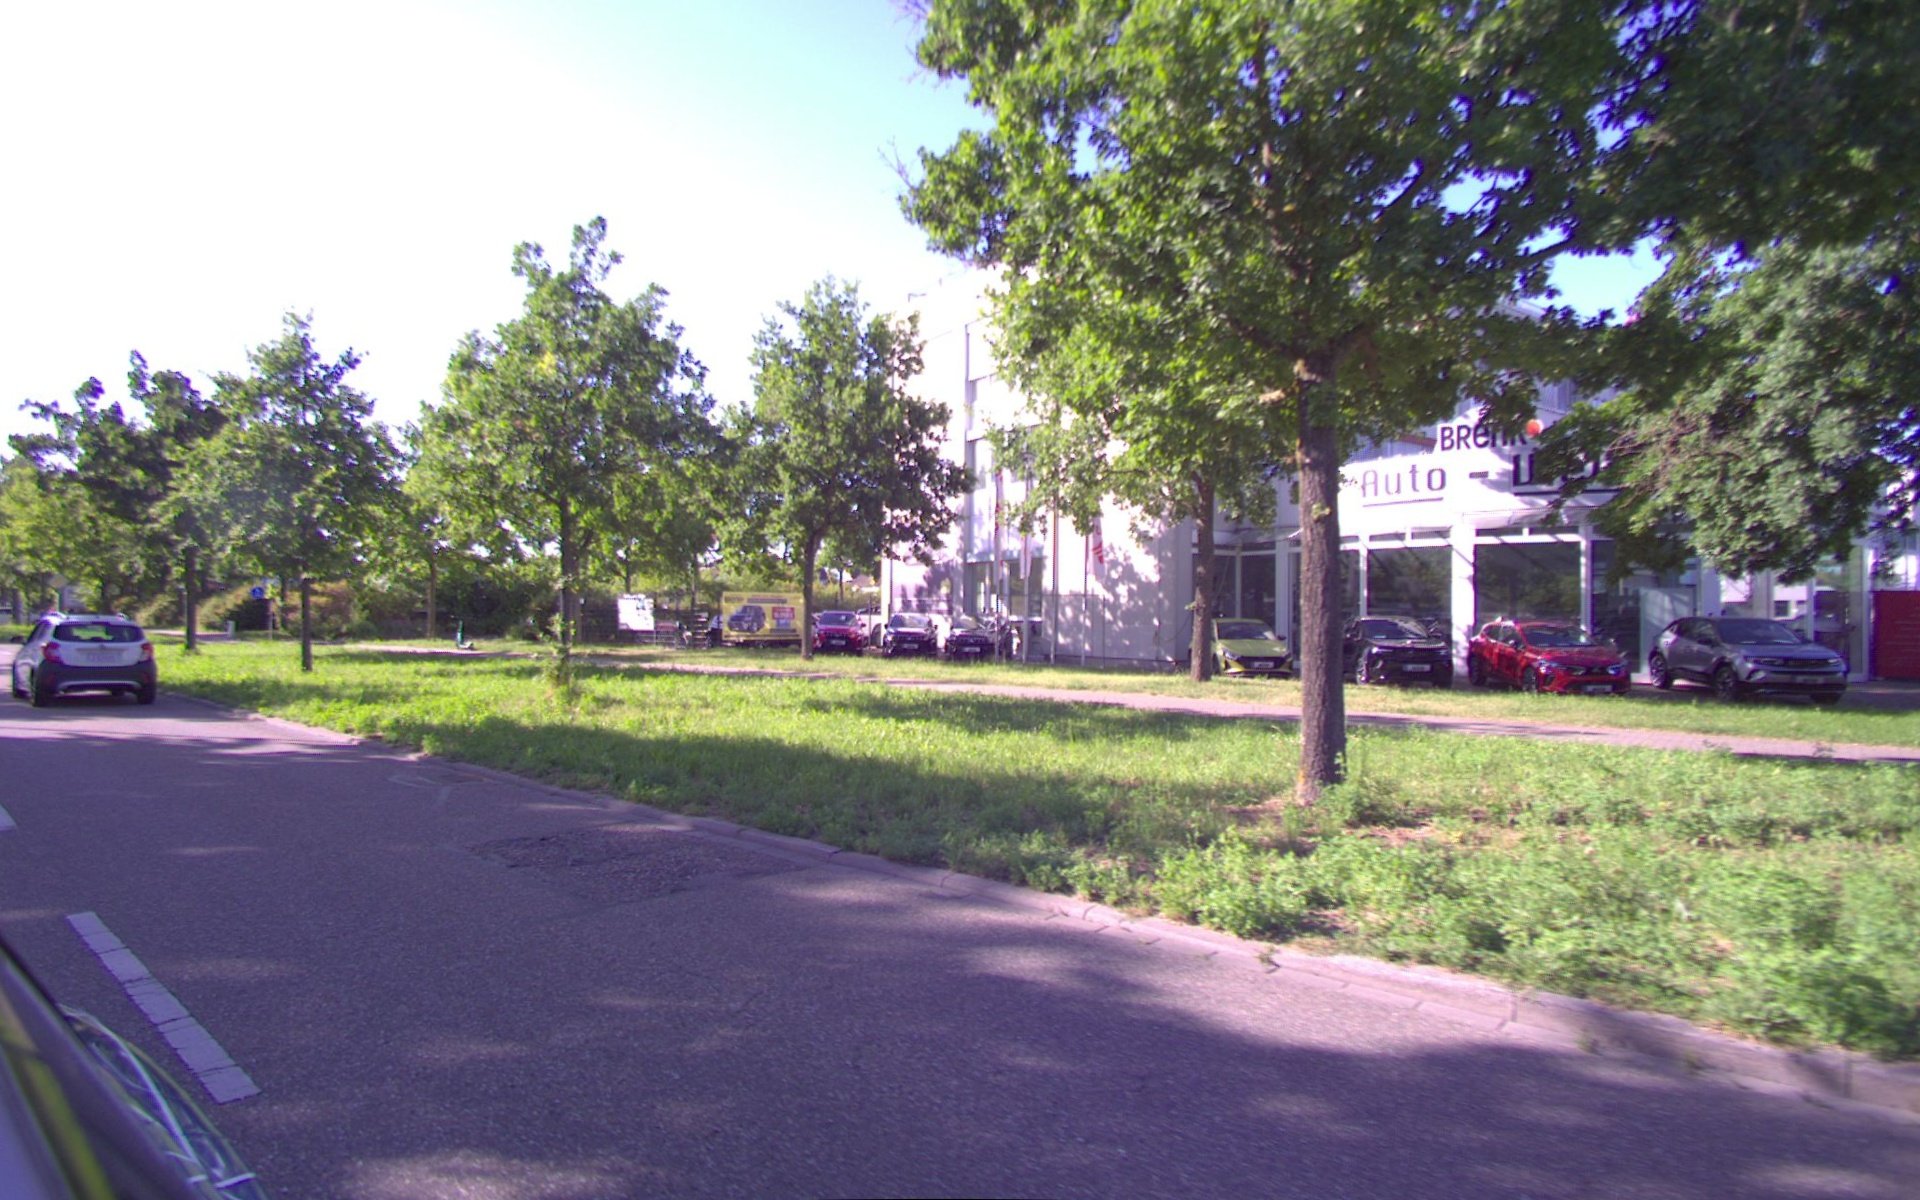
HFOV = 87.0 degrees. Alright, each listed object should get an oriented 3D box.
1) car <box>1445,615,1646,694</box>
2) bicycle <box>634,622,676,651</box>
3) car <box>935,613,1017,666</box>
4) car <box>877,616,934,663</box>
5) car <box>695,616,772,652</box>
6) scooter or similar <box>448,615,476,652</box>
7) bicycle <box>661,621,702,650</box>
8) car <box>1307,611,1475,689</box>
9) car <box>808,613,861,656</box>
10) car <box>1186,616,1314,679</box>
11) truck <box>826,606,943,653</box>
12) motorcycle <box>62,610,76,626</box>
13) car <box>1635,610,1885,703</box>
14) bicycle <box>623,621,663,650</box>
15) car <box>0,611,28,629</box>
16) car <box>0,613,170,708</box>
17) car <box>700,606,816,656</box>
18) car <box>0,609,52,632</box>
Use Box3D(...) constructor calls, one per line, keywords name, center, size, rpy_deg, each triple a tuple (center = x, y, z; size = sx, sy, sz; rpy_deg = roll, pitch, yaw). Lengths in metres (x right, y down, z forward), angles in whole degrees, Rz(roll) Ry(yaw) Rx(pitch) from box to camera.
Box3D(name="car", center=(12.217, 1.085, 21.495), size=(1.973, 1.502, 4.166), rpy_deg=(0, -1, 3))
Box3D(name="bicycle", center=(-11.738, 1.383, 38.910), size=(1.890, 1.096, 0.632), rpy_deg=(-1, -2, 42))
Box3D(name="car", center=(0.564, 1.187, 31.196), size=(1.783, 1.523, 3.984), rpy_deg=(-1, -1, 12))
Box3D(name="car", center=(-1.752, 1.278, 33.567), size=(1.775, 1.459, 4.000), rpy_deg=(0, -1, -1))
Box3D(name="car", center=(-9.694, 1.431, 43.090), size=(1.771, 1.459, 4.009), rpy_deg=(1, -1, -36))
Box3D(name="scooter or similar", center=(-17.542, 1.170, 35.649), size=(1.441, 1.289, 0.390), rpy_deg=(-1, -1, 43))
Box3D(name="bicycle", center=(-10.858, 1.389, 39.443), size=(1.890, 1.096, 0.632), rpy_deg=(-1, -2, 42))
Box3D(name="car", center=(9.257, 1.027, 22.152), size=(1.870, 1.550, 4.169), rpy_deg=(0, -1, 0))
Box3D(name="car", center=(-4.435, 1.202, 36.034), size=(1.773, 1.459, 4.005), rpy_deg=(0, -1, -6))
Box3D(name="car", center=(6.931, 1.104, 24.609), size=(1.972, 1.412, 3.953), rpy_deg=(0, -1, 0))
Box3D(name="truck", center=(-3.176, 1.221, 43.185), size=(4.614, 1.797, 2.030), rpy_deg=(-1, 0, -37))
Box3D(name="motorcycle", center=(-81.440, 1.647, 92.511), size=(1.992, 1.443, 0.729), rpy_deg=(-1, 2, 45))
Box3D(name="car", center=(15.070, 1.002, 19.420), size=(1.978, 1.574, 4.157), rpy_deg=(0, -1, 10))
Box3D(name="bicycle", center=(-12.578, 1.392, 40.084), size=(1.890, 1.096, 0.632), rpy_deg=(-1, -2, 42))
Box3D(name="car", center=(-85.090, 1.760, 89.165), size=(4.361, 1.568, 2.090), rpy_deg=(-1, 0, -44))
Box3D(name="car", center=(-15.617, 1.006, 17.982), size=(4.426, 1.476, 1.725), rpy_deg=(-1, -2, 42))
Box3D(name="car", center=(-7.908, 1.176, 39.666), size=(3.965, 1.797, 2.030), rpy_deg=(-1, 0, -37))
Box3D(name="car", center=(-70.091, 1.530, 74.479), size=(2.190, 1.570, 4.579), rpy_deg=(-1, 0, 40))
